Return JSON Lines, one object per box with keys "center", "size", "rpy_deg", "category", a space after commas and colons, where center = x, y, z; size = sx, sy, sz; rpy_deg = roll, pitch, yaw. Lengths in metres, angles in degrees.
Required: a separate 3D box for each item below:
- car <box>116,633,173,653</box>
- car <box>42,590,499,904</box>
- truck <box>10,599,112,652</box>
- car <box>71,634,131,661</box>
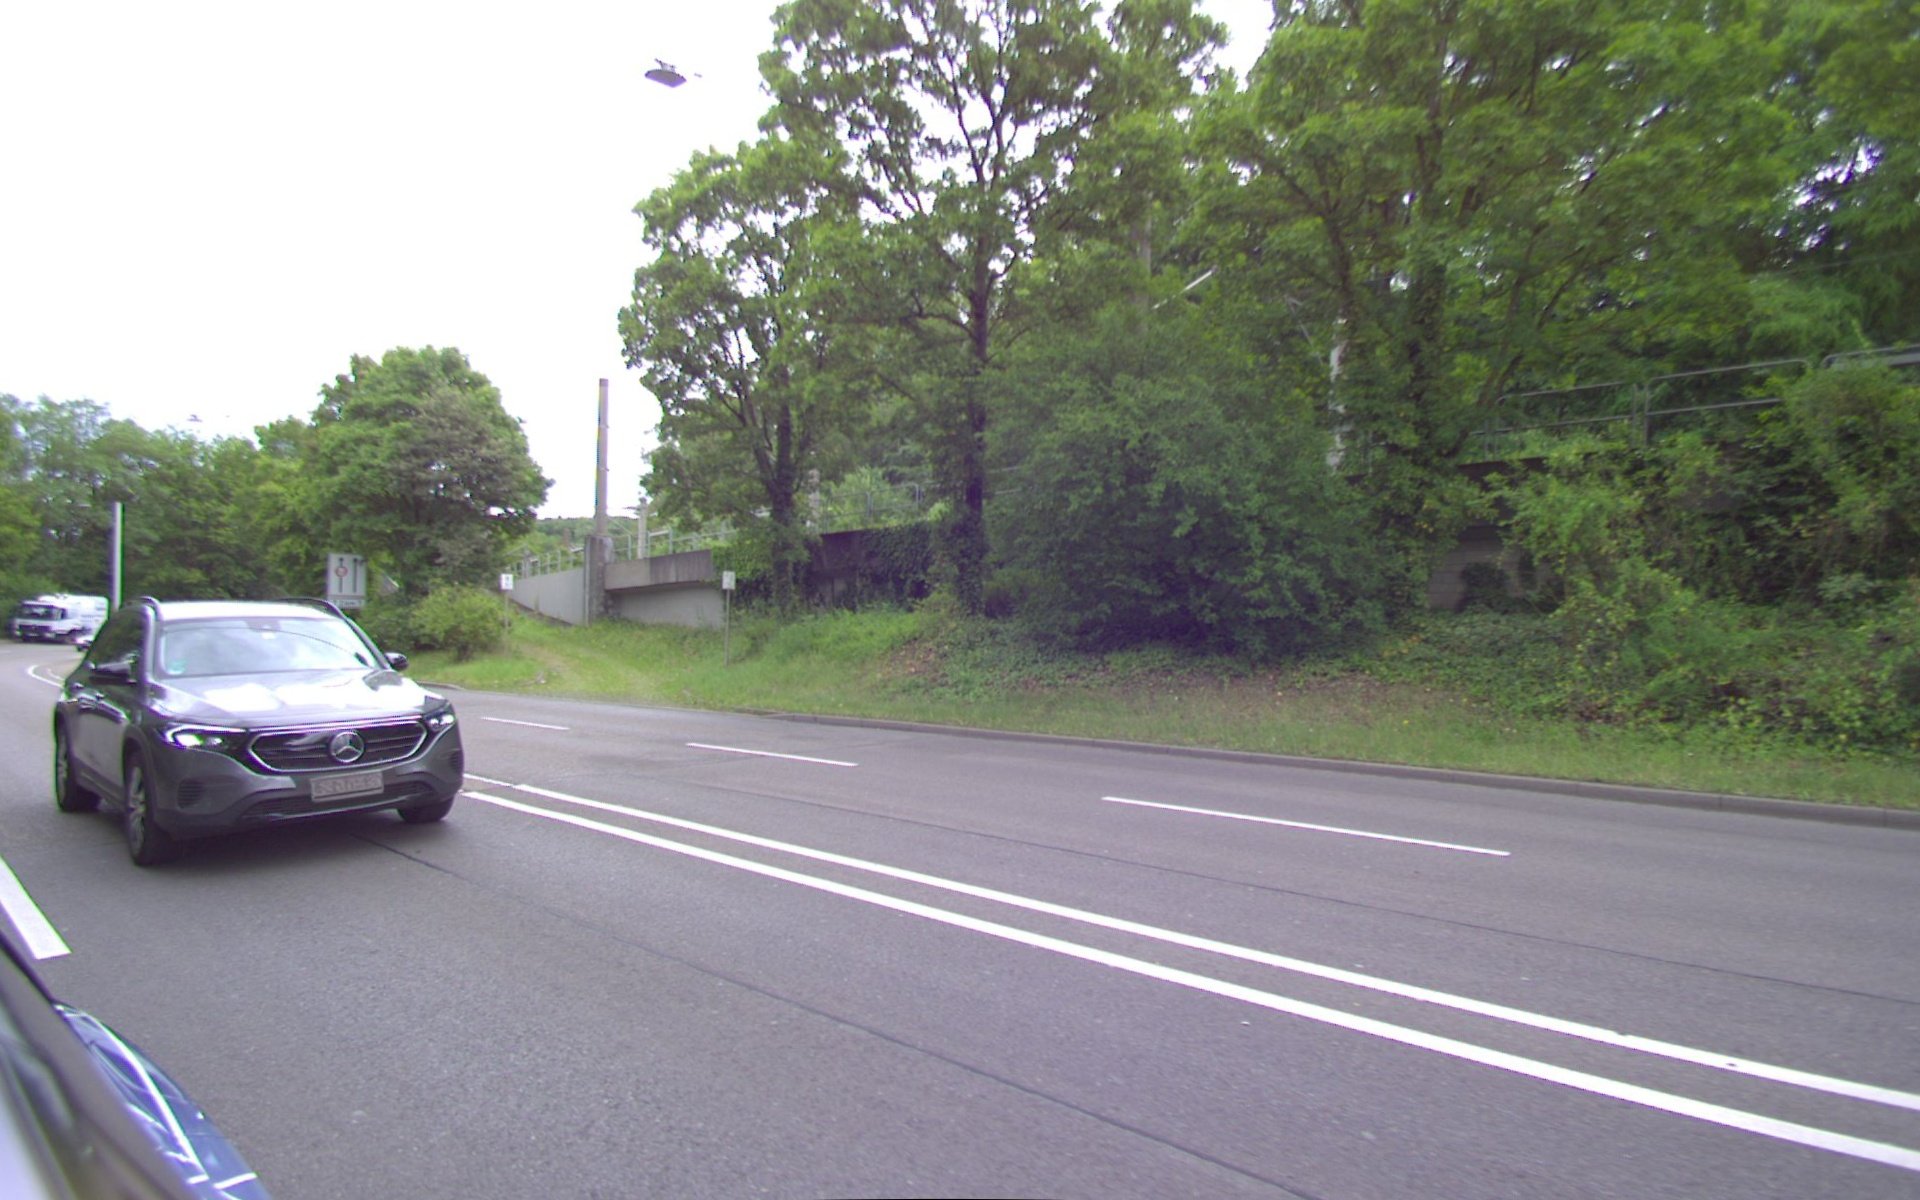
{"center": [-60.387, 3.190, 75.020], "size": [1.727, 1.372, 4.021], "rpy_deg": [4, -4, -14], "category": "car"}
{"center": [-5.298, 0.828, 7.524], "size": [4.356, 1.664, 1.830], "rpy_deg": [-2, -1, 42], "category": "car"}
{"center": [-57.914, 1.707, 65.382], "size": [2.164, 3.180, 6.670], "rpy_deg": [2, -3, -16], "category": "truck"}
{"center": [-47.413, 2.626, 55.943], "size": [1.636, 1.401, 4.196], "rpy_deg": [4, -4, -29], "category": "car"}
